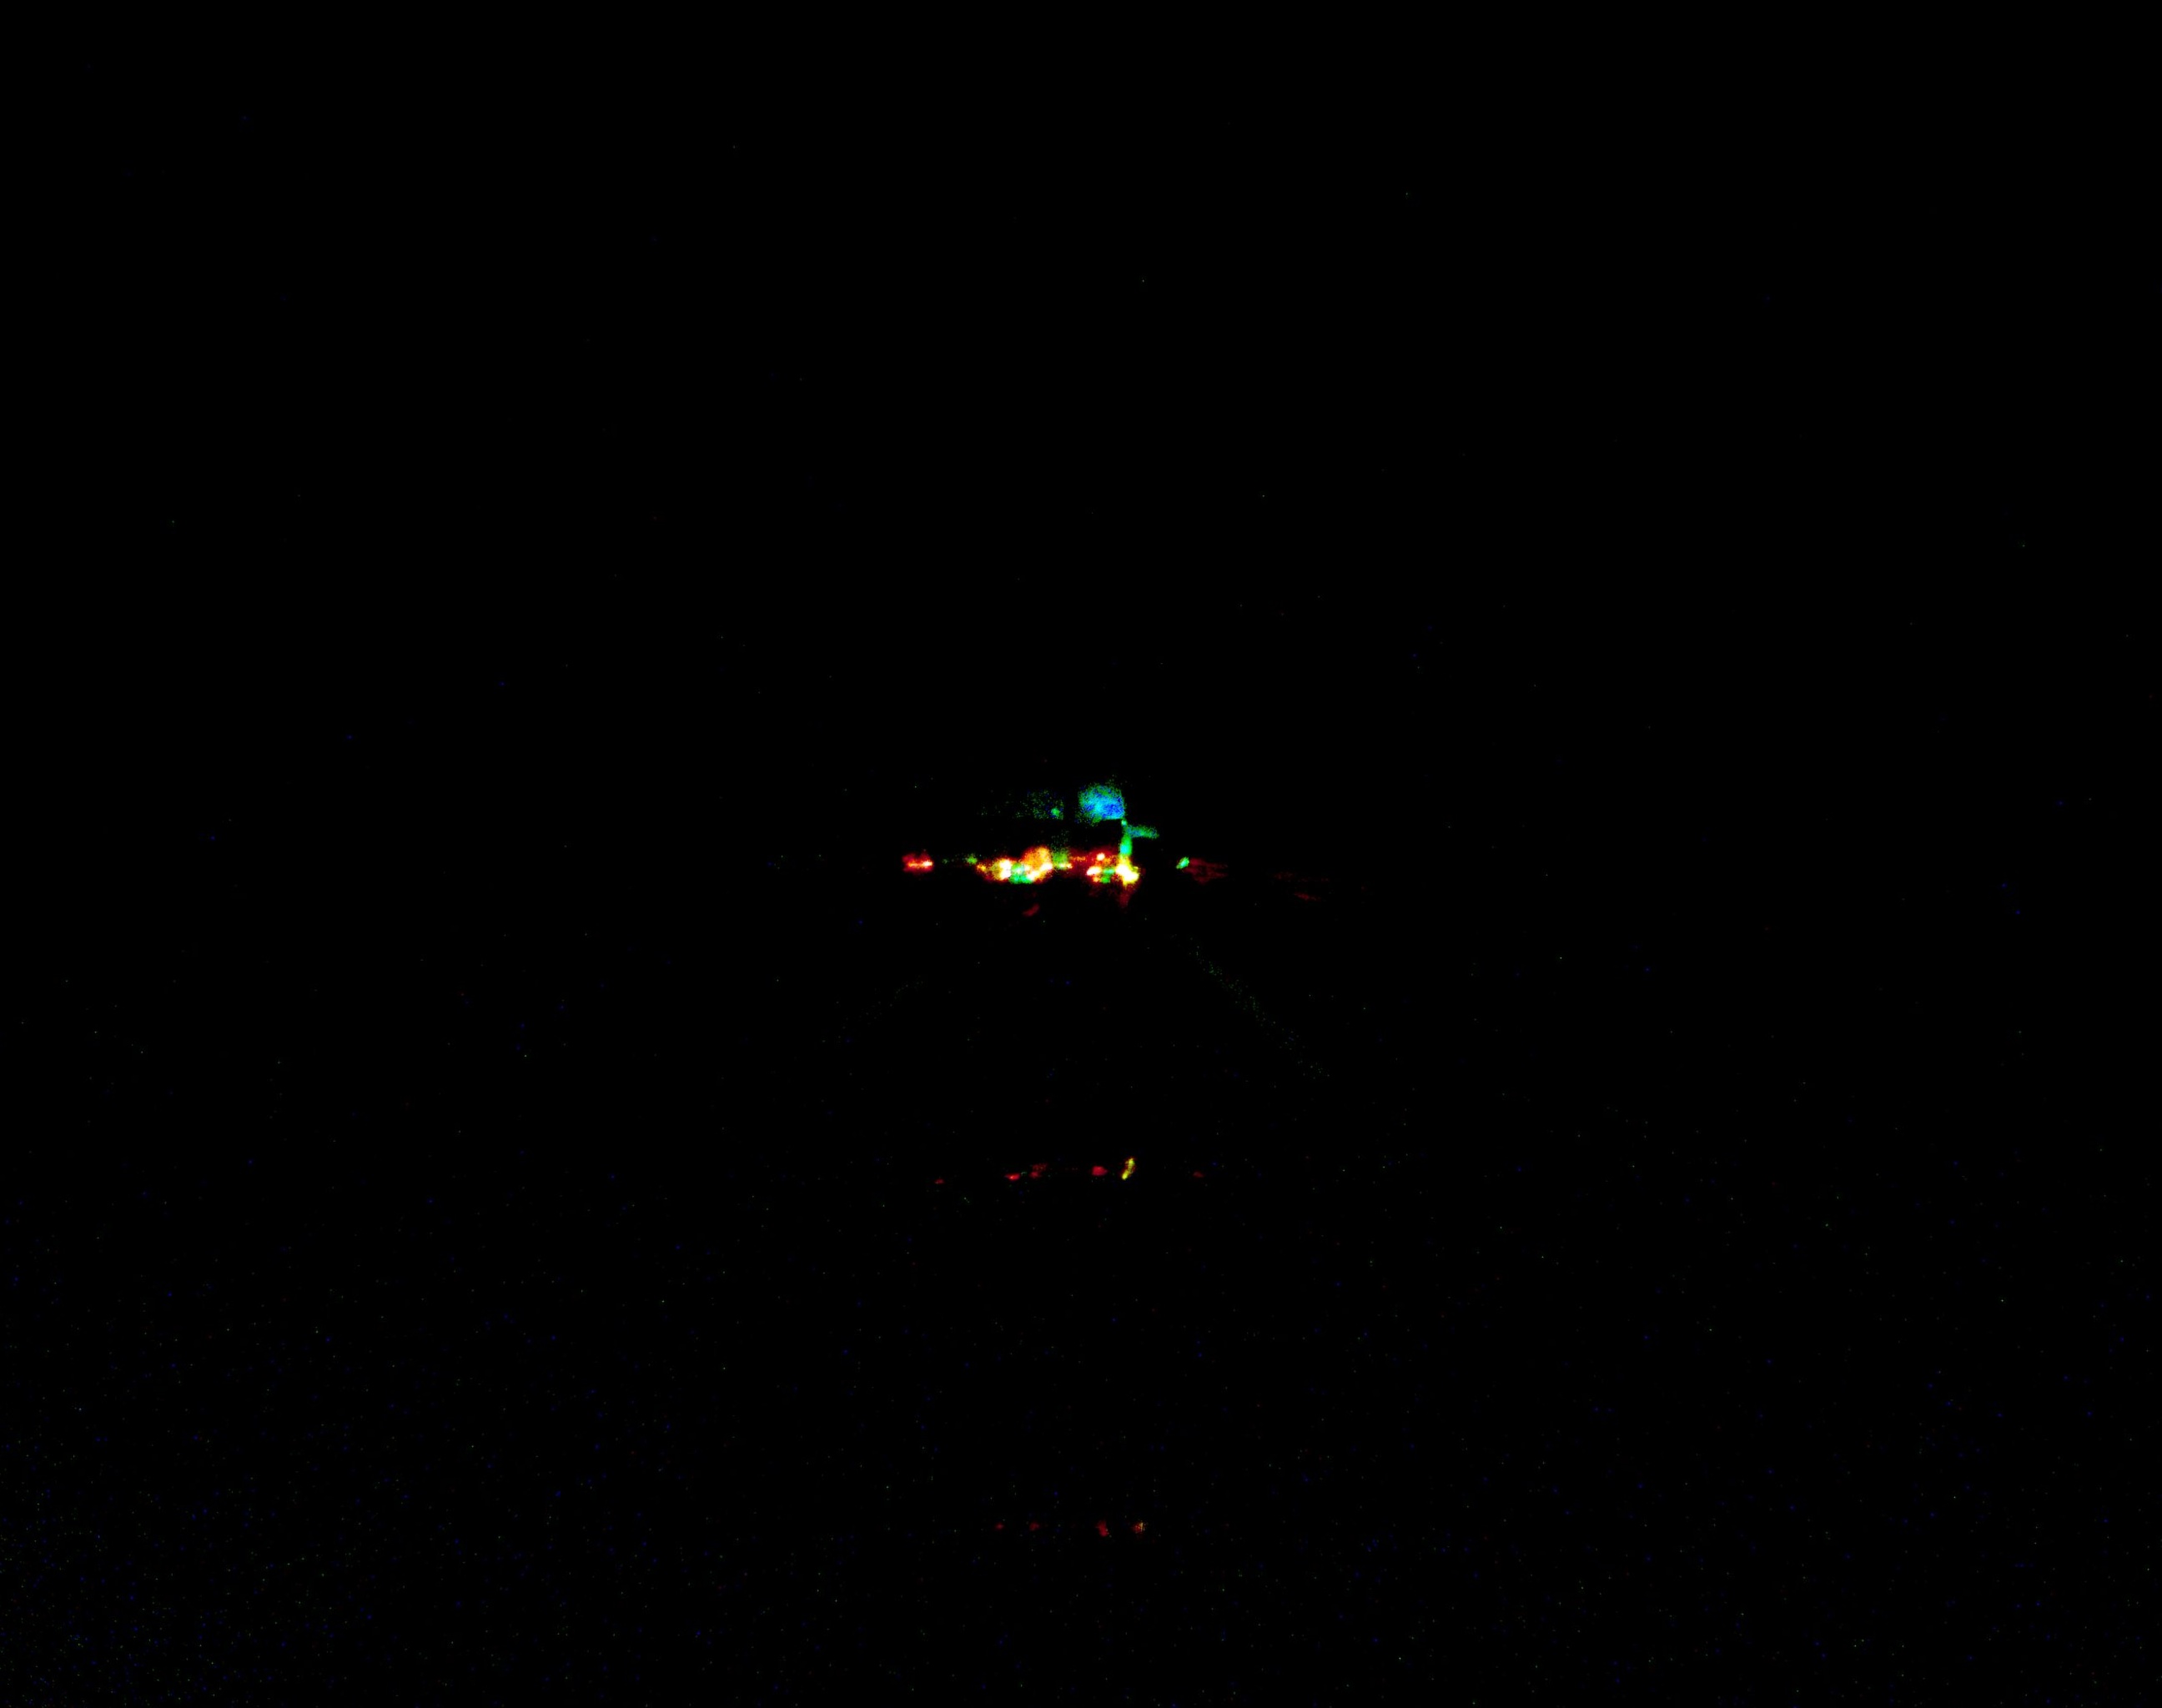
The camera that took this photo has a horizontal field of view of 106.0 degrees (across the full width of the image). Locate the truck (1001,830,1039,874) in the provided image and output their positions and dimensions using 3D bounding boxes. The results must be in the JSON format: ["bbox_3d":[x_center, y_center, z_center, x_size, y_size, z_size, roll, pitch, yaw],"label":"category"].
[{"bbox_3d":[-8.218,-0.217,112.152,4.196,5.648,11.468,0,-1,1],"label":"truck"}]

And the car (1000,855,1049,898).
[{"bbox_3d":[-2.730,1.078,40.289,2.120,2.014,4.643,0,-1,-1],"label":"car"}]

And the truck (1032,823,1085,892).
[{"bbox_3d":[-1.784,0.329,72.063,4.196,5.648,11.468,0,-1,1],"label":"truck"}]

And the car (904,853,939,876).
[{"bbox_3d":[-11.158,0.727,57.252,1.990,1.596,3.993,0,-1,-5],"label":"car"}]

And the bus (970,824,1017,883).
[{"bbox_3d":[-7.213,0.003,68.551,3.089,4.508,10.904,0,-1,-2],"label":"bus"}]

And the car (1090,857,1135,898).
[{"bbox_3d":[1.473,1.074,38.529,1.986,1.807,4.001,0,-1,1],"label":"car"}]
